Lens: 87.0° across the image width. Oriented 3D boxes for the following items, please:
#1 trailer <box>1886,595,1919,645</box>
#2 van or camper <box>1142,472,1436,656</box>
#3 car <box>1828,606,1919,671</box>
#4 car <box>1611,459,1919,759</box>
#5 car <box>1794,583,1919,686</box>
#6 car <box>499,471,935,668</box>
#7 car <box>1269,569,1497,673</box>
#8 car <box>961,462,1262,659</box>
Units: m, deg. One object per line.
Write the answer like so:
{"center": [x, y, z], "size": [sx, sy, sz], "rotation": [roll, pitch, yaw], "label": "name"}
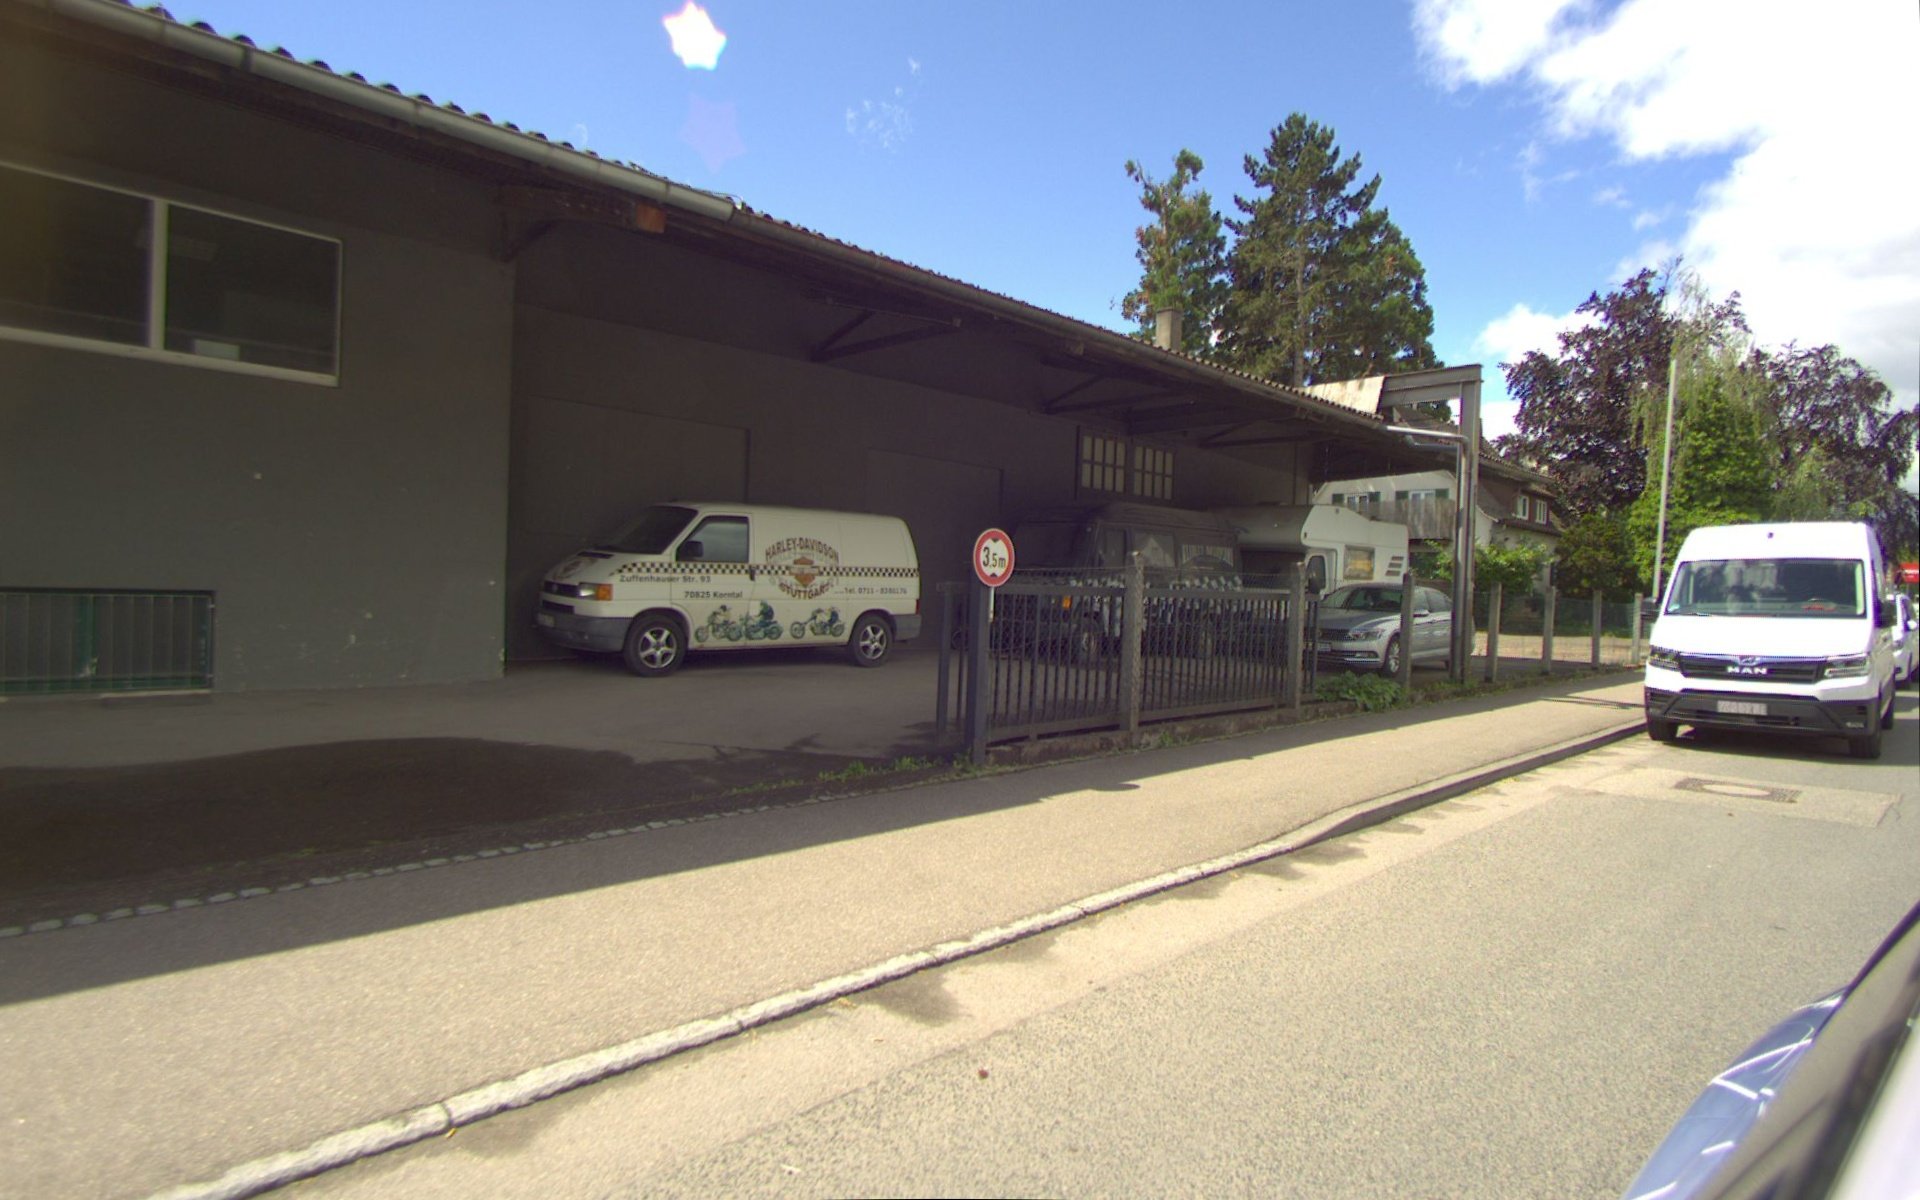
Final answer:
{"center": [37.401, 0.747, 39.164], "size": [4.685, 1.846, 1.995], "rotation": [1, 0, -44], "label": "trailer"}
{"center": [6.879, -0.643, 20.538], "size": [2.883, 3.099, 6.801], "rotation": [2, 1, 45], "label": "van or camper"}
{"center": [22.898, 0.887, 24.965], "size": [4.910, 1.469, 1.756], "rotation": [1, -1, -44], "label": "car"}
{"center": [10.073, 0.050, 12.312], "size": [2.216, 2.722, 6.549], "rotation": [3, 2, 45], "label": "car"}
{"center": [19.020, 0.657, 21.208], "size": [1.906, 1.909, 5.302], "rotation": [0, -1, 45], "label": "car"}
{"center": [-2.746, -0.292, 12.286], "size": [4.772, 1.934, 1.995], "rotation": [1, 1, -44], "label": "car"}
{"center": [7.250, 0.325, 17.064], "size": [4.844, 1.508, 1.766], "rotation": [1, 0, -44], "label": "car"}
{"center": [2.671, -0.512, 16.620], "size": [2.019, 2.715, 5.408], "rotation": [2, 0, 45], "label": "car"}
